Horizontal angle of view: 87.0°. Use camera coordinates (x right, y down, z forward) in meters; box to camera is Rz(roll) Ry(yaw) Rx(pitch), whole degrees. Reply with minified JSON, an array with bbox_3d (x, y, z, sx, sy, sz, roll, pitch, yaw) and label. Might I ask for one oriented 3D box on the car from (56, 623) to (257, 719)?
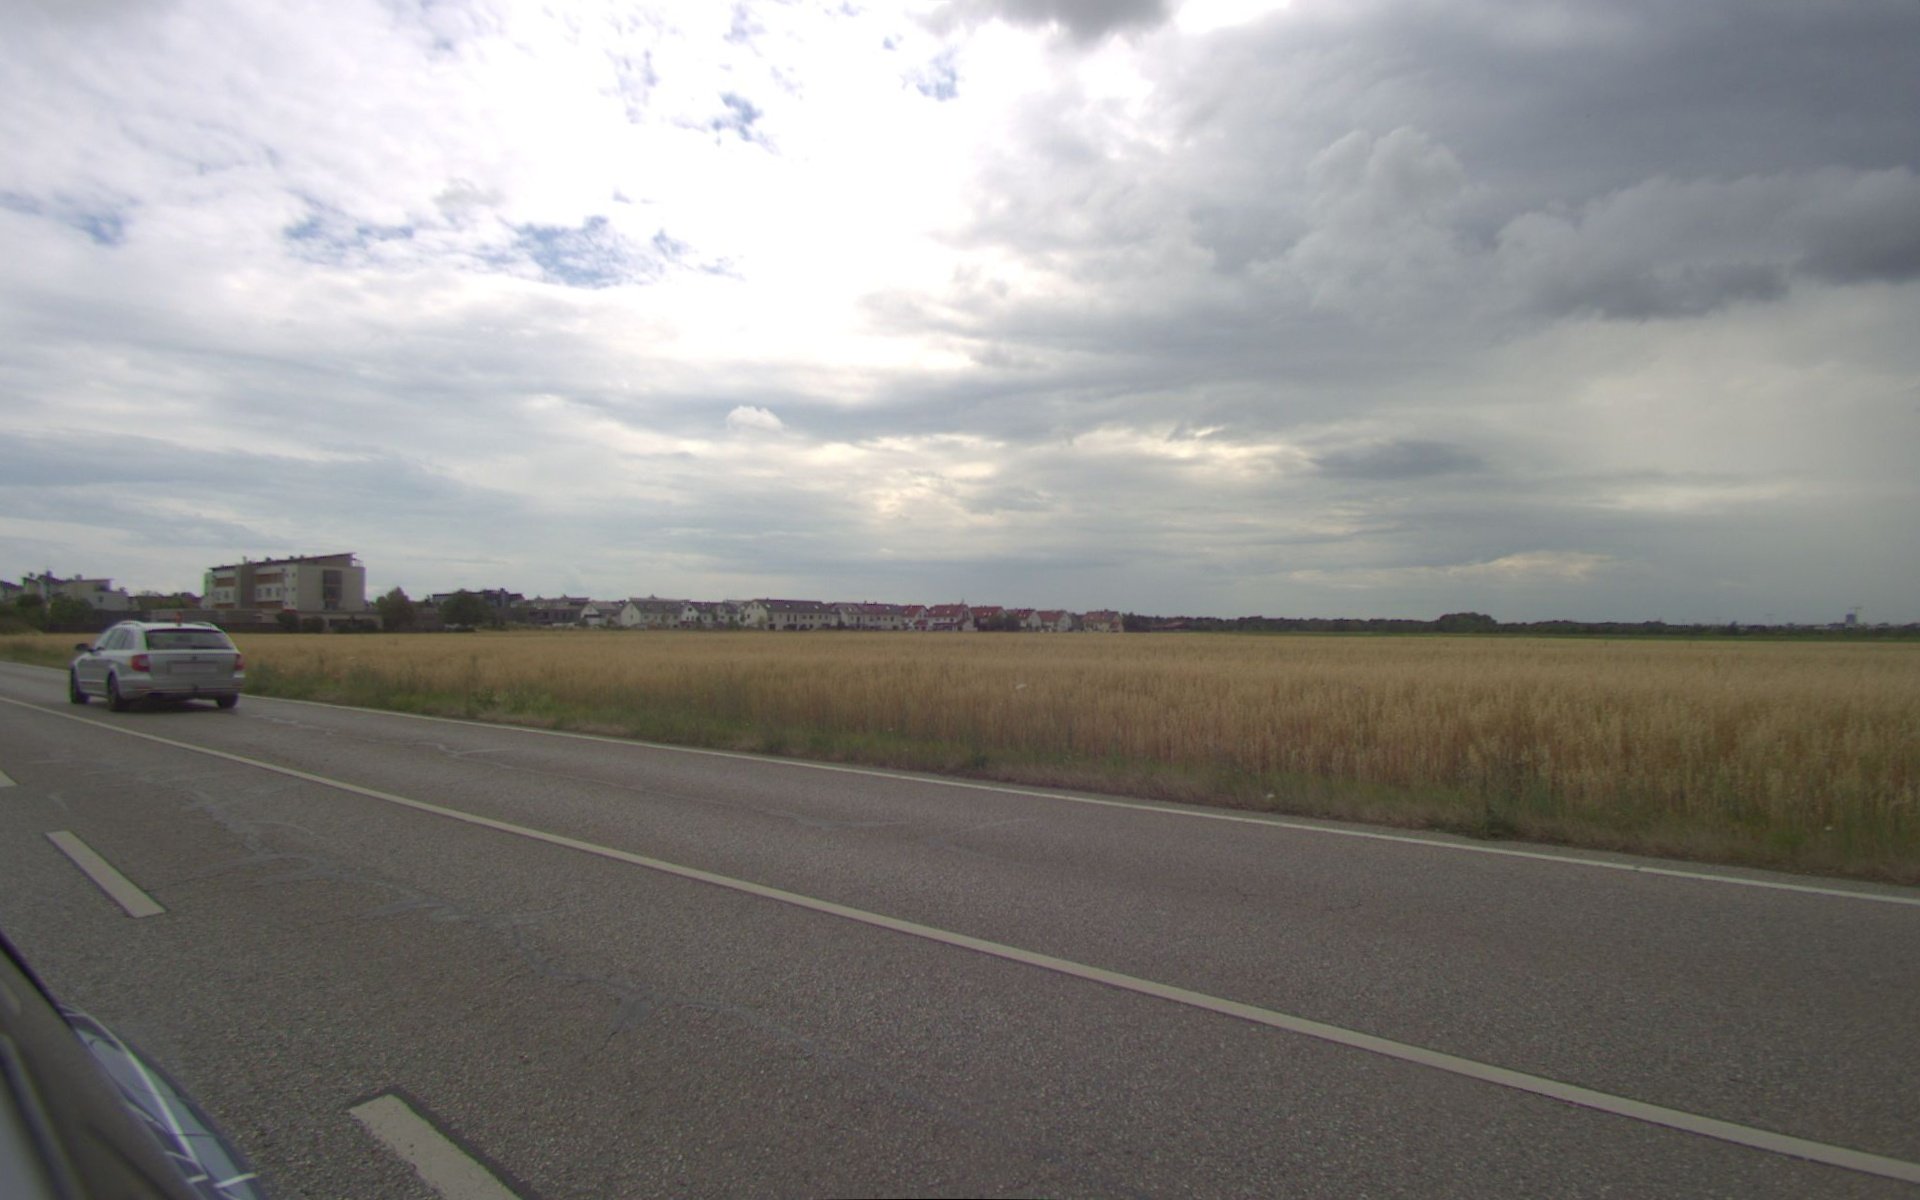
[{"bbox_3d":[-14.221,1.177,17.846,4.259,1.500,1.833,-2,-3,38],"label":"car"}]
